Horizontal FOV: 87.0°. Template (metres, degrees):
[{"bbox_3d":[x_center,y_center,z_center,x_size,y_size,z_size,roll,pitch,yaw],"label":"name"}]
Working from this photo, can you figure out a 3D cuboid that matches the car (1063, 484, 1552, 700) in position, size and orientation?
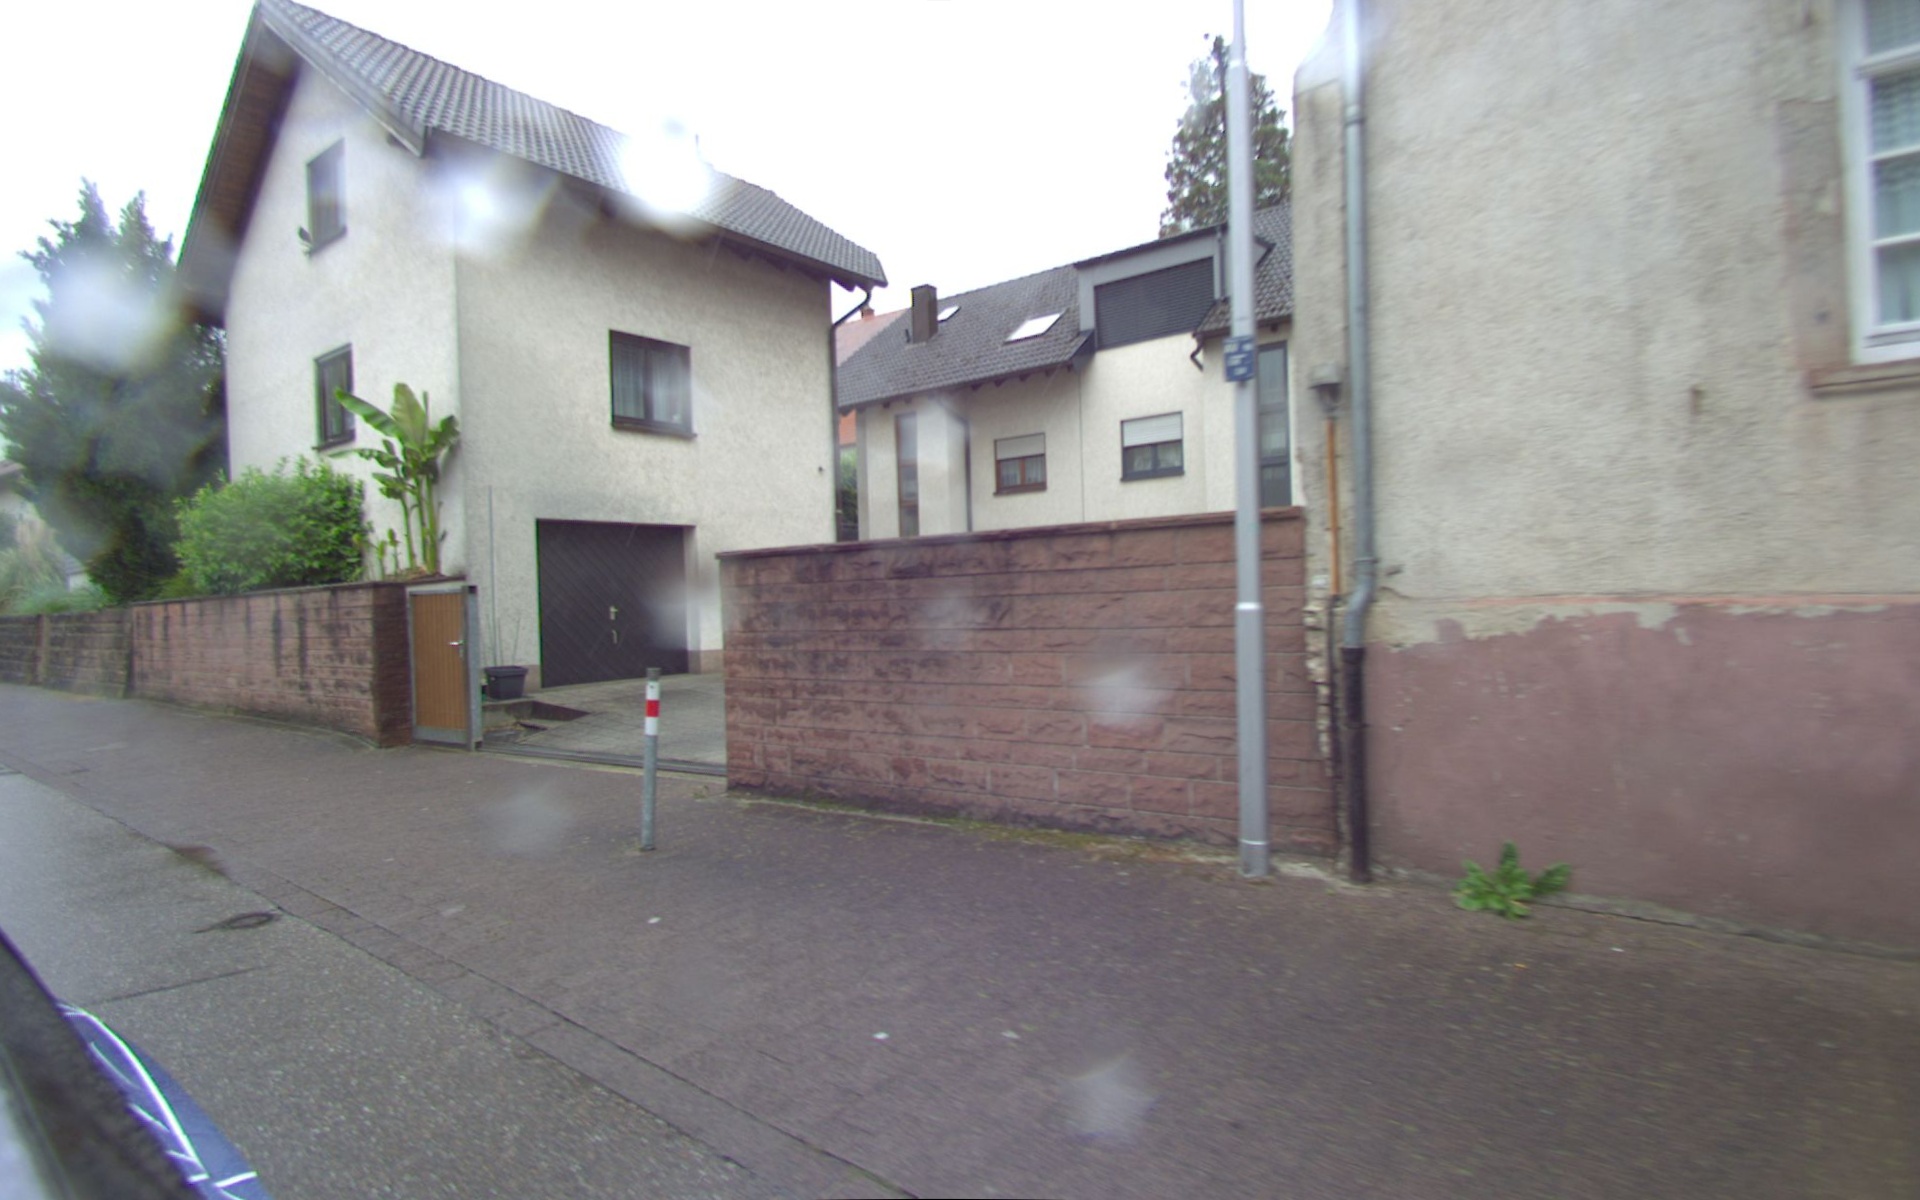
[{"bbox_3d":[3.472,0.038,10.462,4.296,1.729,1.968,-5,-2,36],"label":"car"}]
